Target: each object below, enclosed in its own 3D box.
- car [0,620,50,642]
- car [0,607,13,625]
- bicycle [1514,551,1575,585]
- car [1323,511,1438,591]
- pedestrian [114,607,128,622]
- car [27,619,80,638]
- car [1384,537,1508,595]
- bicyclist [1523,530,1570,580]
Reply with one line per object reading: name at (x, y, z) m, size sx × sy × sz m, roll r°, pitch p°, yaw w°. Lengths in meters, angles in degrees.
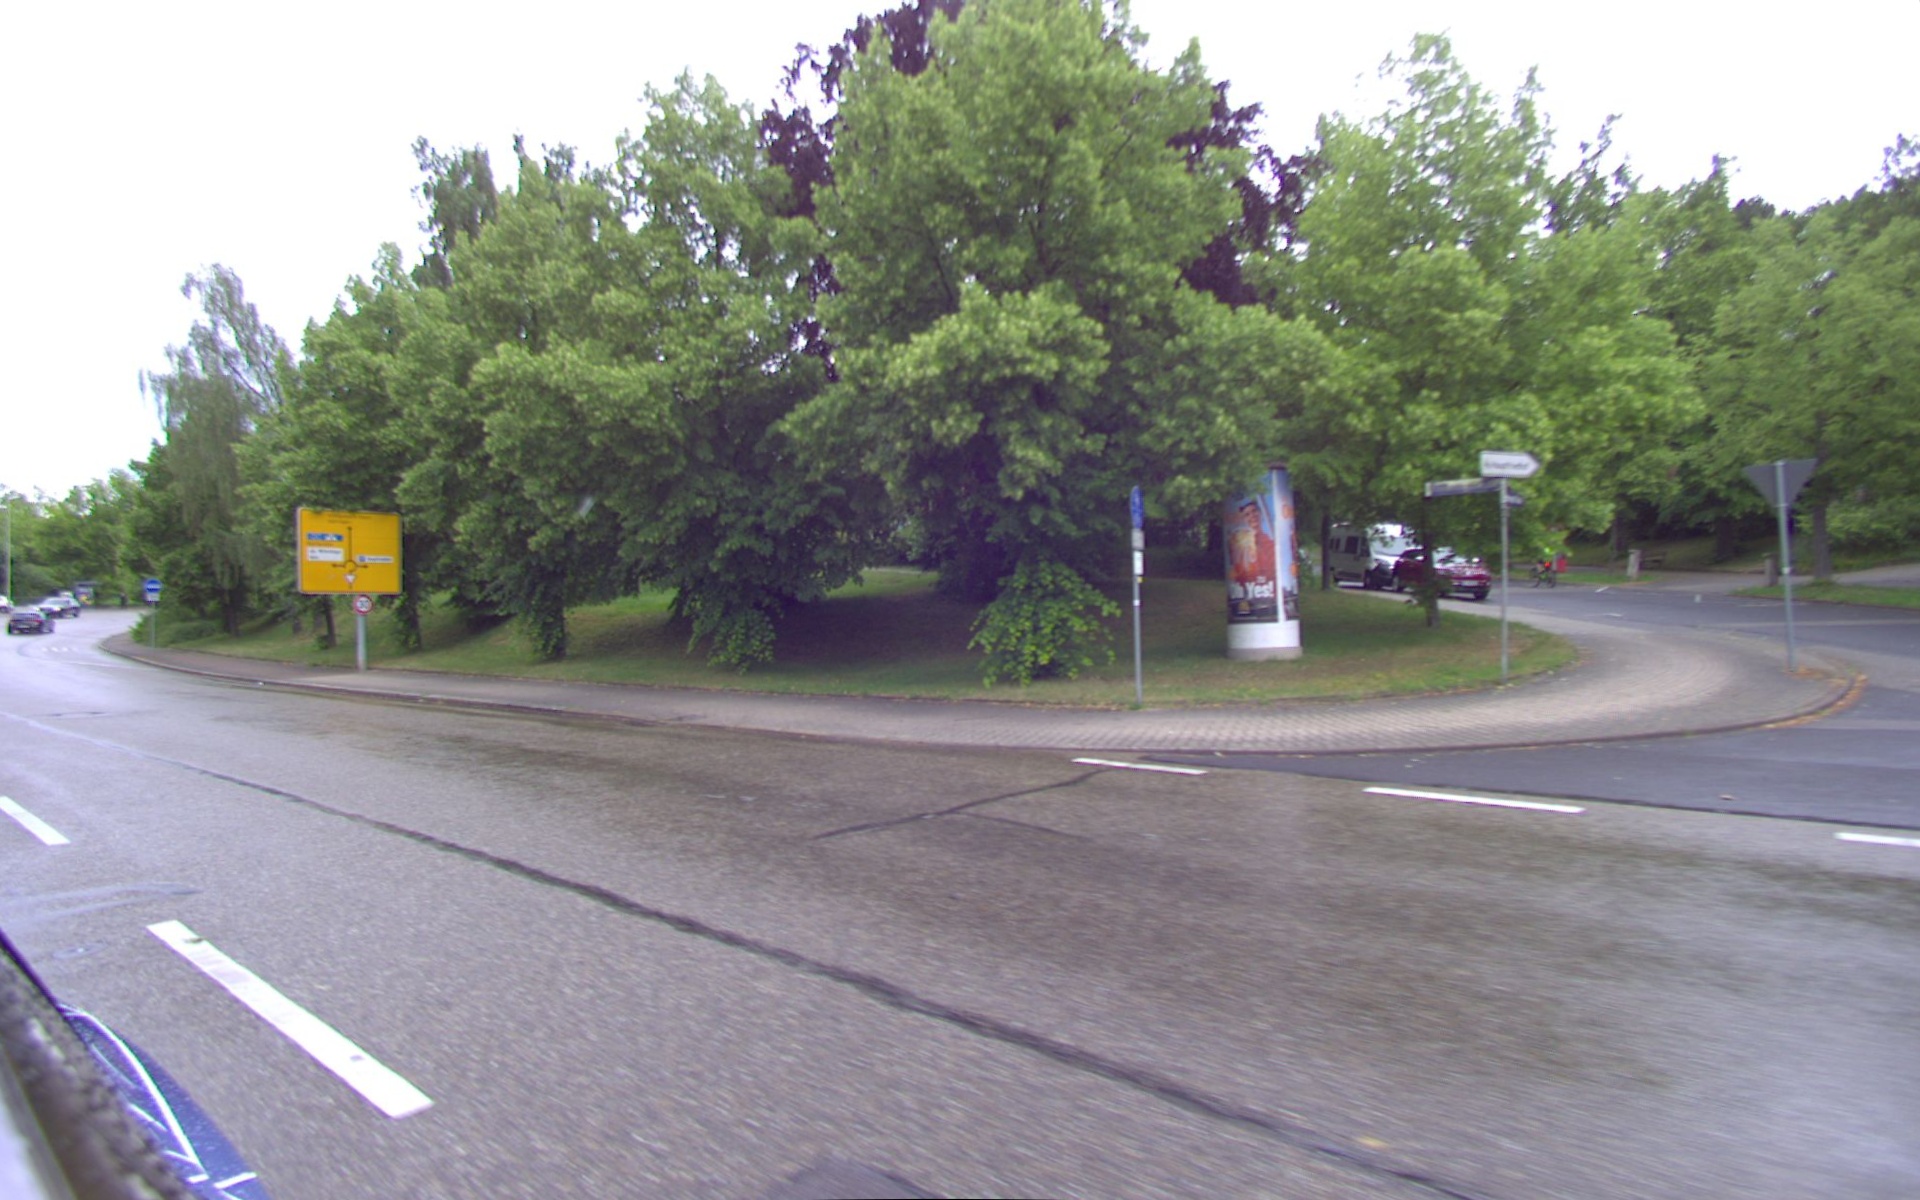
car at (-59.841, 2.002, 64.756) m, size 1.698 × 1.394 × 4.151 m, roll 1°, pitch -3°, yaw -32°
car at (-89.151, 1.414, 92.336) m, size 3.807 × 1.578 × 1.731 m, roll 2°, pitch -2°, yaw -37°
bicycle at (21.028, -1.129, 36.450) m, size 0.841 × 1.164 × 2.041 m, roll 0°, pitch 0°, yaw -8°
car at (15.843, -1.749, 38.506) m, size 2.129 × 2.719 × 5.665 m, roll -2°, pitch 0°, yaw 3°
pedestrian at (-89.822, 1.560, 108.308) m, size 0.912 × 1.667 × 1.101 m, roll 0°, pitch -1°, yaw -27°
car at (-74.791, 2.370, 83.607) m, size 1.831 × 1.425 × 4.400 m, roll -1°, pitch -2°, yaw -21°
car at (15.745, -1.054, 33.035) m, size 1.949 × 1.680 × 4.001 m, roll -2°, pitch 0°, yaw -1°
bicyclist at (21.041, -1.599, 36.360) m, size 0.841 × 1.769 × 1.288 m, roll 0°, pitch 0°, yaw -7°
